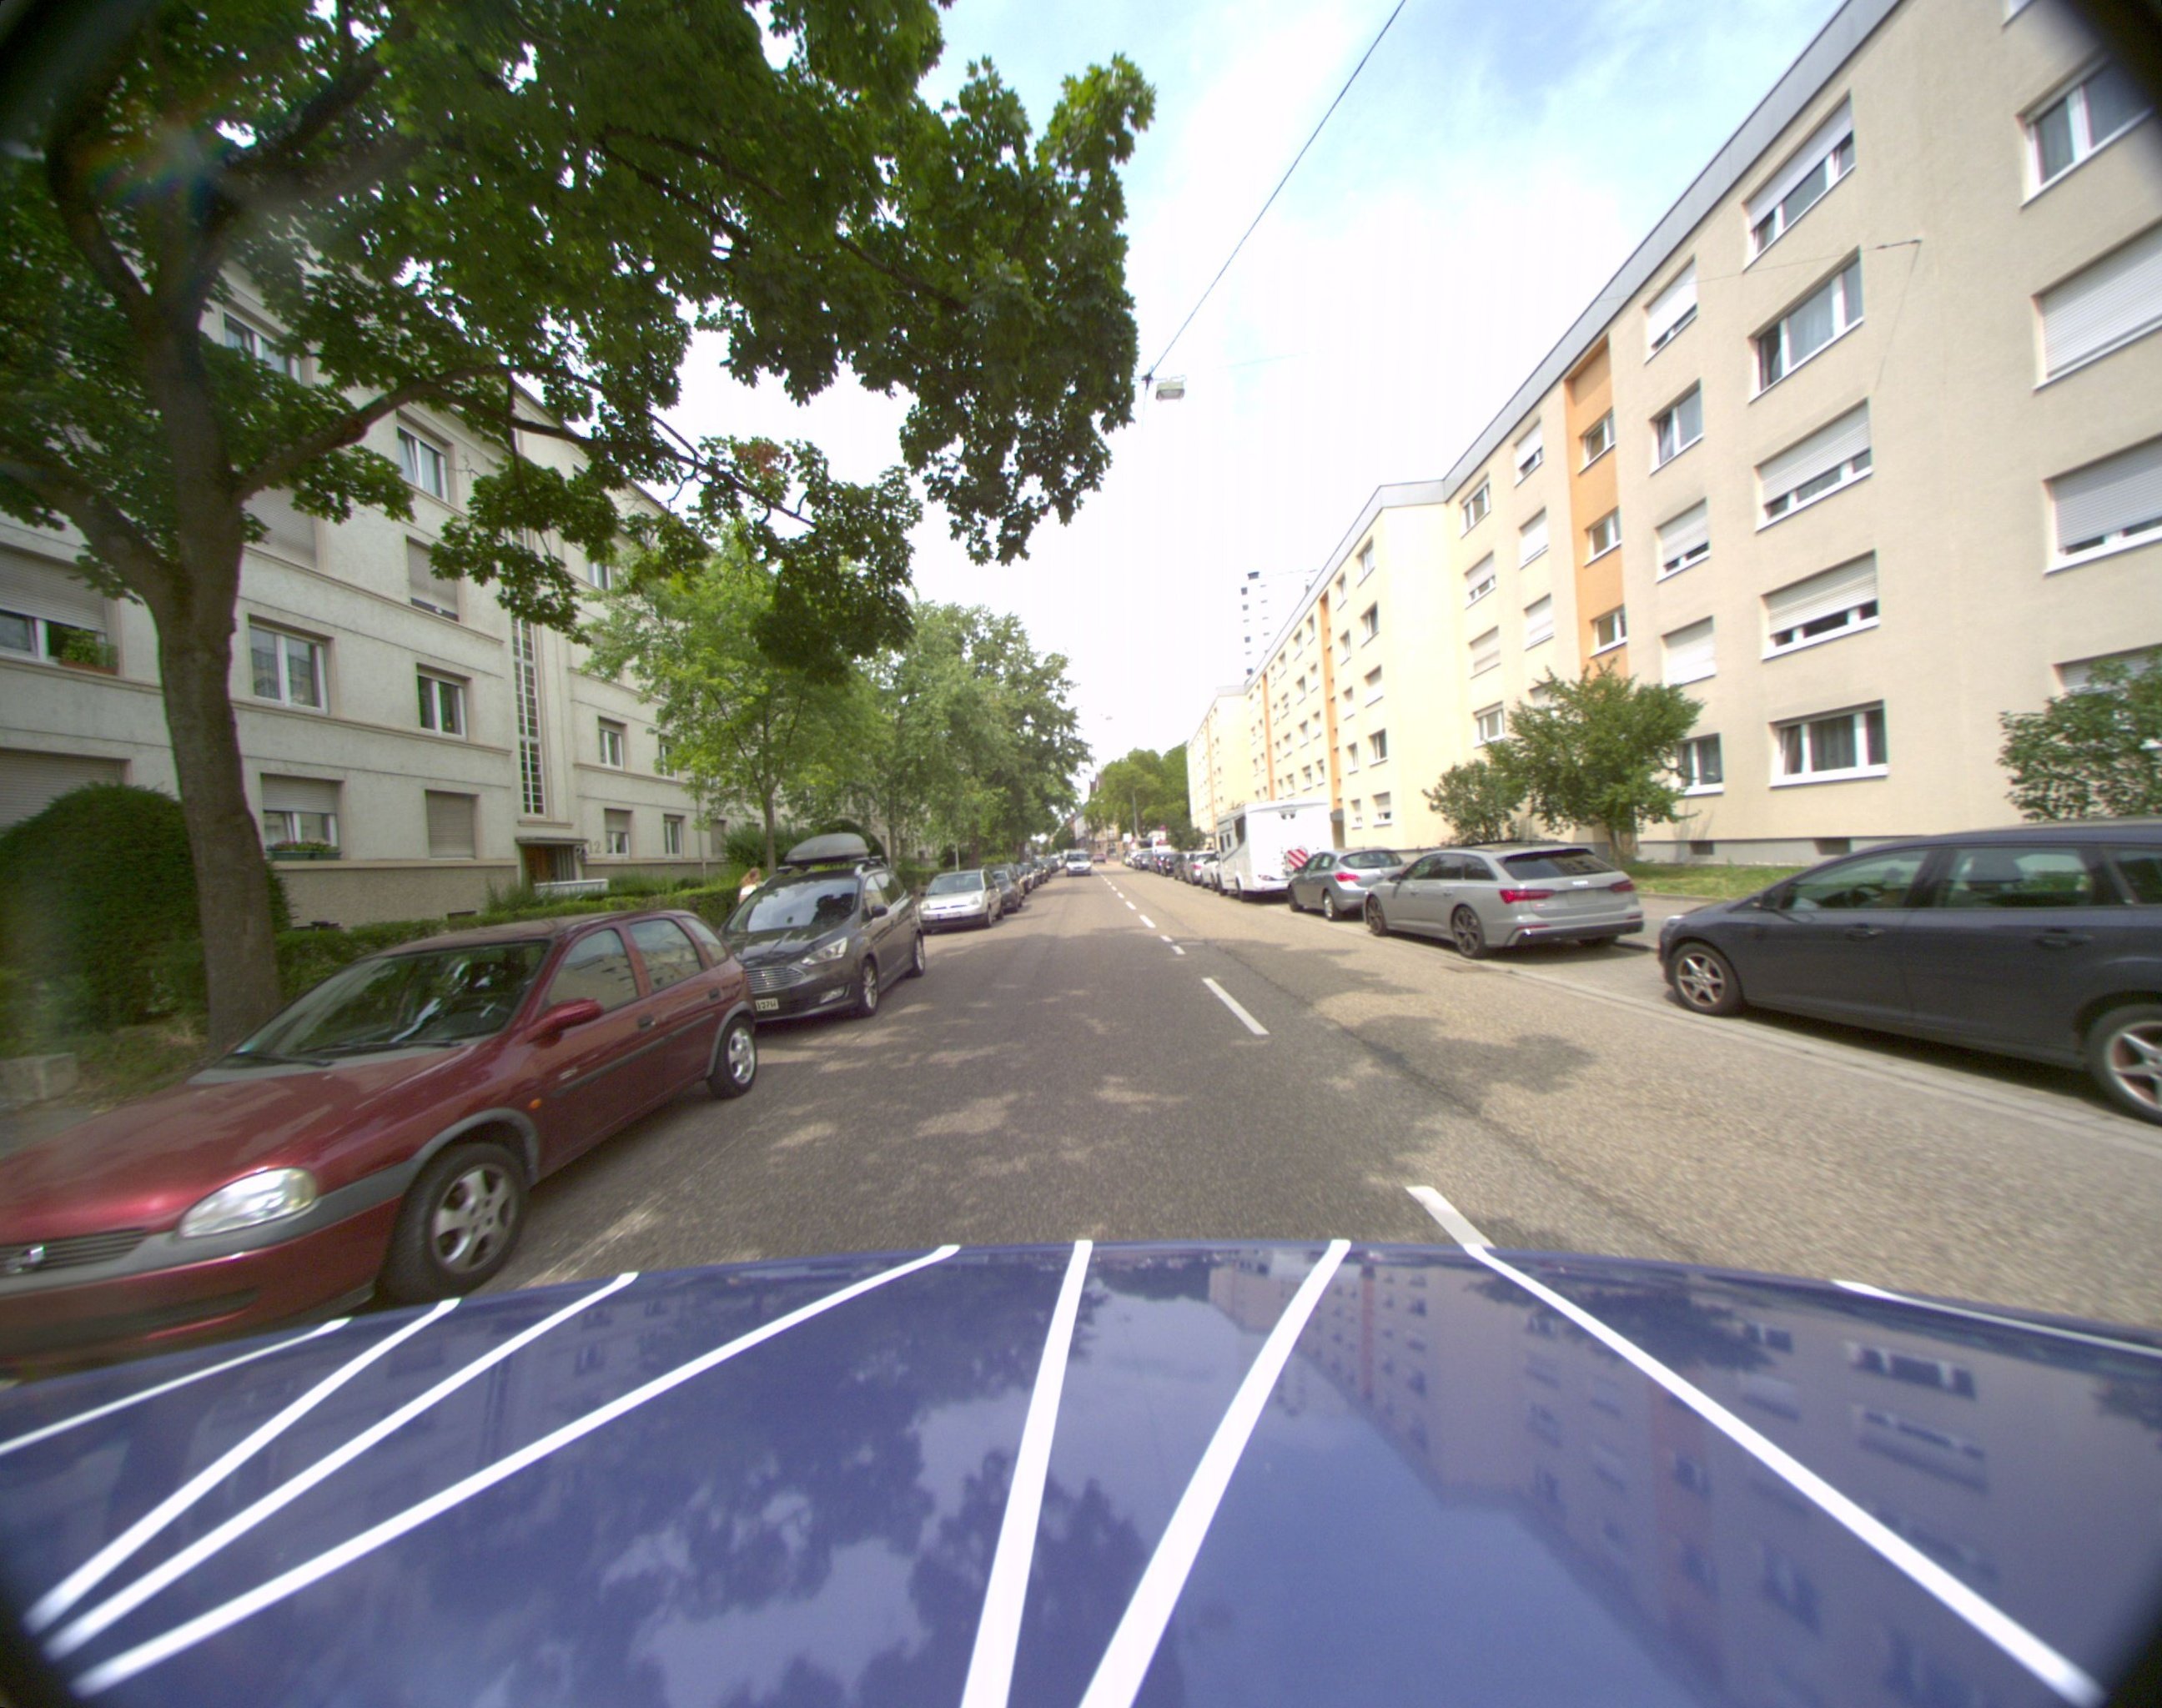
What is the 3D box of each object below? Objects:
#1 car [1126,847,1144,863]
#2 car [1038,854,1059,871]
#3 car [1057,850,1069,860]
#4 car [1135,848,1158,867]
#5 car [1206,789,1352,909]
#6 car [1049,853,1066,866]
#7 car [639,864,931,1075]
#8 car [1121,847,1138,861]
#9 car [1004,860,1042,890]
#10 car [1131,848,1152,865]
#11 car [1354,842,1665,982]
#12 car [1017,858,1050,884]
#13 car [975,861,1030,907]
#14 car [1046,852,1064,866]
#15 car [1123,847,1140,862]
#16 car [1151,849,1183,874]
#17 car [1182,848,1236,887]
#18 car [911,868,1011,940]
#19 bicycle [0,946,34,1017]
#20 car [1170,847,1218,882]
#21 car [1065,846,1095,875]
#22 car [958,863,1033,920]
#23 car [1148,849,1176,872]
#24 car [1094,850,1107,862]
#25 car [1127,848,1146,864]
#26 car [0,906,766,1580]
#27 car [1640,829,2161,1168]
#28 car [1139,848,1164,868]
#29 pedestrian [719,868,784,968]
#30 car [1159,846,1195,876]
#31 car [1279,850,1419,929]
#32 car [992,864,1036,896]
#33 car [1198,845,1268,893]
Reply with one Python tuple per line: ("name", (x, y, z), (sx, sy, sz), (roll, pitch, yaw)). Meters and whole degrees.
("car", (6.090, 0.103, 86.445), (1.806, 1.625, 3.895), (-2, 1, 1))
("car", (-2.944, 0.760, 69.979), (1.676, 1.369, 3.785), (-6, 0, 0))
("car", (-2.779, 0.204, 119.269), (1.676, 1.369, 3.785), (-6, 0, 0))
("car", (6.042, 0.283, 70.445), (1.806, 1.625, 3.895), (-2, 1, 1))
("car", (5.773, -0.136, 23.474), (2.621, 3.040, 7.114), (-2, 0, 1))
("car", (-2.776, 0.589, 90.615), (1.676, 1.369, 3.785), (-6, 0, 0))
("car", (-3.090, 1.072, 9.010), (1.676, 1.666, 4.271), (-7, 0, -1))
("car", (6.186, -0.022, 97.286), (1.806, 1.625, 3.895), (-2, 1, 1))
("car", (-3.074, 1.088, 40.956), (1.676, 1.369, 3.785), (-6, 0, -1))
("car", (5.999, 0.223, 75.973), (1.806, 1.625, 3.895), (-2, 1, 1))
("car", (5.747, 0.654, 11.010), (1.722, 1.498, 4.624), (-3, 0, -2))
("car", (-2.859, 1.018, 46.518), (1.676, 1.369, 3.785), (-6, 0, 0))
("car", (-2.998, 1.116, 29.704), (1.676, 1.483, 3.785), (-6, 0, -1))
("car", (-2.923, 0.584, 85.681), (1.676, 1.369, 3.785), (-6, 0, 0))
("car", (6.107, 0.032, 92.697), (1.806, 1.625, 3.895), (-2, 1, 1))
("car", (5.951, 0.464, 52.917), (1.730, 1.608, 3.895), (-2, 1, 1))
("car", (5.911, 0.577, 35.531), (1.853, 1.623, 4.218), (-2, 1, 1))
("car", (-2.889, 1.176, 19.069), (1.676, 1.392, 3.785), (-5, 0, 2))
("bicycle", (-14.996, 1.772, 9.730), (0.566, 0.927, 1.829), (-2, 1, 1))
("car", (6.043, 0.519, 41.081), (1.844, 1.670, 4.217), (-2, 1, -1))
("car", (-0.026, 0.445, 55.401), (1.998, 2.002, 3.999), (-2, 1, 1))
("car", (-2.620, 1.120, 24.032), (1.676, 1.445, 3.785), (-6, 0, 2))
("car", (6.090, 0.469, 57.213), (1.665, 1.547, 3.895), (-2, 1, 1))
("car", (2.936, 0.292, 114.898), (1.806, 1.625, 3.895), (-2, 1, 1))
("car", (5.945, 0.163, 81.524), (1.806, 1.625, 3.895), (-2, 1, 1))
("car", (-3.264, 1.204, 3.855), (1.676, 1.445, 3.784), (-6, 0, -1))
("car", (5.841, 0.661, 4.548), (1.681, 1.495, 4.263), (-5, 0, -2))
("car", (6.034, 0.339, 65.460), (1.806, 1.625, 3.895), (-2, 1, 1))
("pedestrian", (-6.250, 1.195, 14.449), (0.808, 1.793, 0.763), (-2, 1, 1))
("car", (5.955, 0.397, 47.554), (1.723, 1.787, 3.895), (-2, 1, 1))
("car", (5.750, 0.684, 16.825), (1.616, 1.475, 4.058), (-2, 0, 0))
("car", (-3.091, 1.175, 35.798), (1.676, 1.235, 3.785), (-6, 0, -1))
("car", (5.975, 0.551, 30.344), (1.998, 1.729, 3.836), (-2, 1, 1))
